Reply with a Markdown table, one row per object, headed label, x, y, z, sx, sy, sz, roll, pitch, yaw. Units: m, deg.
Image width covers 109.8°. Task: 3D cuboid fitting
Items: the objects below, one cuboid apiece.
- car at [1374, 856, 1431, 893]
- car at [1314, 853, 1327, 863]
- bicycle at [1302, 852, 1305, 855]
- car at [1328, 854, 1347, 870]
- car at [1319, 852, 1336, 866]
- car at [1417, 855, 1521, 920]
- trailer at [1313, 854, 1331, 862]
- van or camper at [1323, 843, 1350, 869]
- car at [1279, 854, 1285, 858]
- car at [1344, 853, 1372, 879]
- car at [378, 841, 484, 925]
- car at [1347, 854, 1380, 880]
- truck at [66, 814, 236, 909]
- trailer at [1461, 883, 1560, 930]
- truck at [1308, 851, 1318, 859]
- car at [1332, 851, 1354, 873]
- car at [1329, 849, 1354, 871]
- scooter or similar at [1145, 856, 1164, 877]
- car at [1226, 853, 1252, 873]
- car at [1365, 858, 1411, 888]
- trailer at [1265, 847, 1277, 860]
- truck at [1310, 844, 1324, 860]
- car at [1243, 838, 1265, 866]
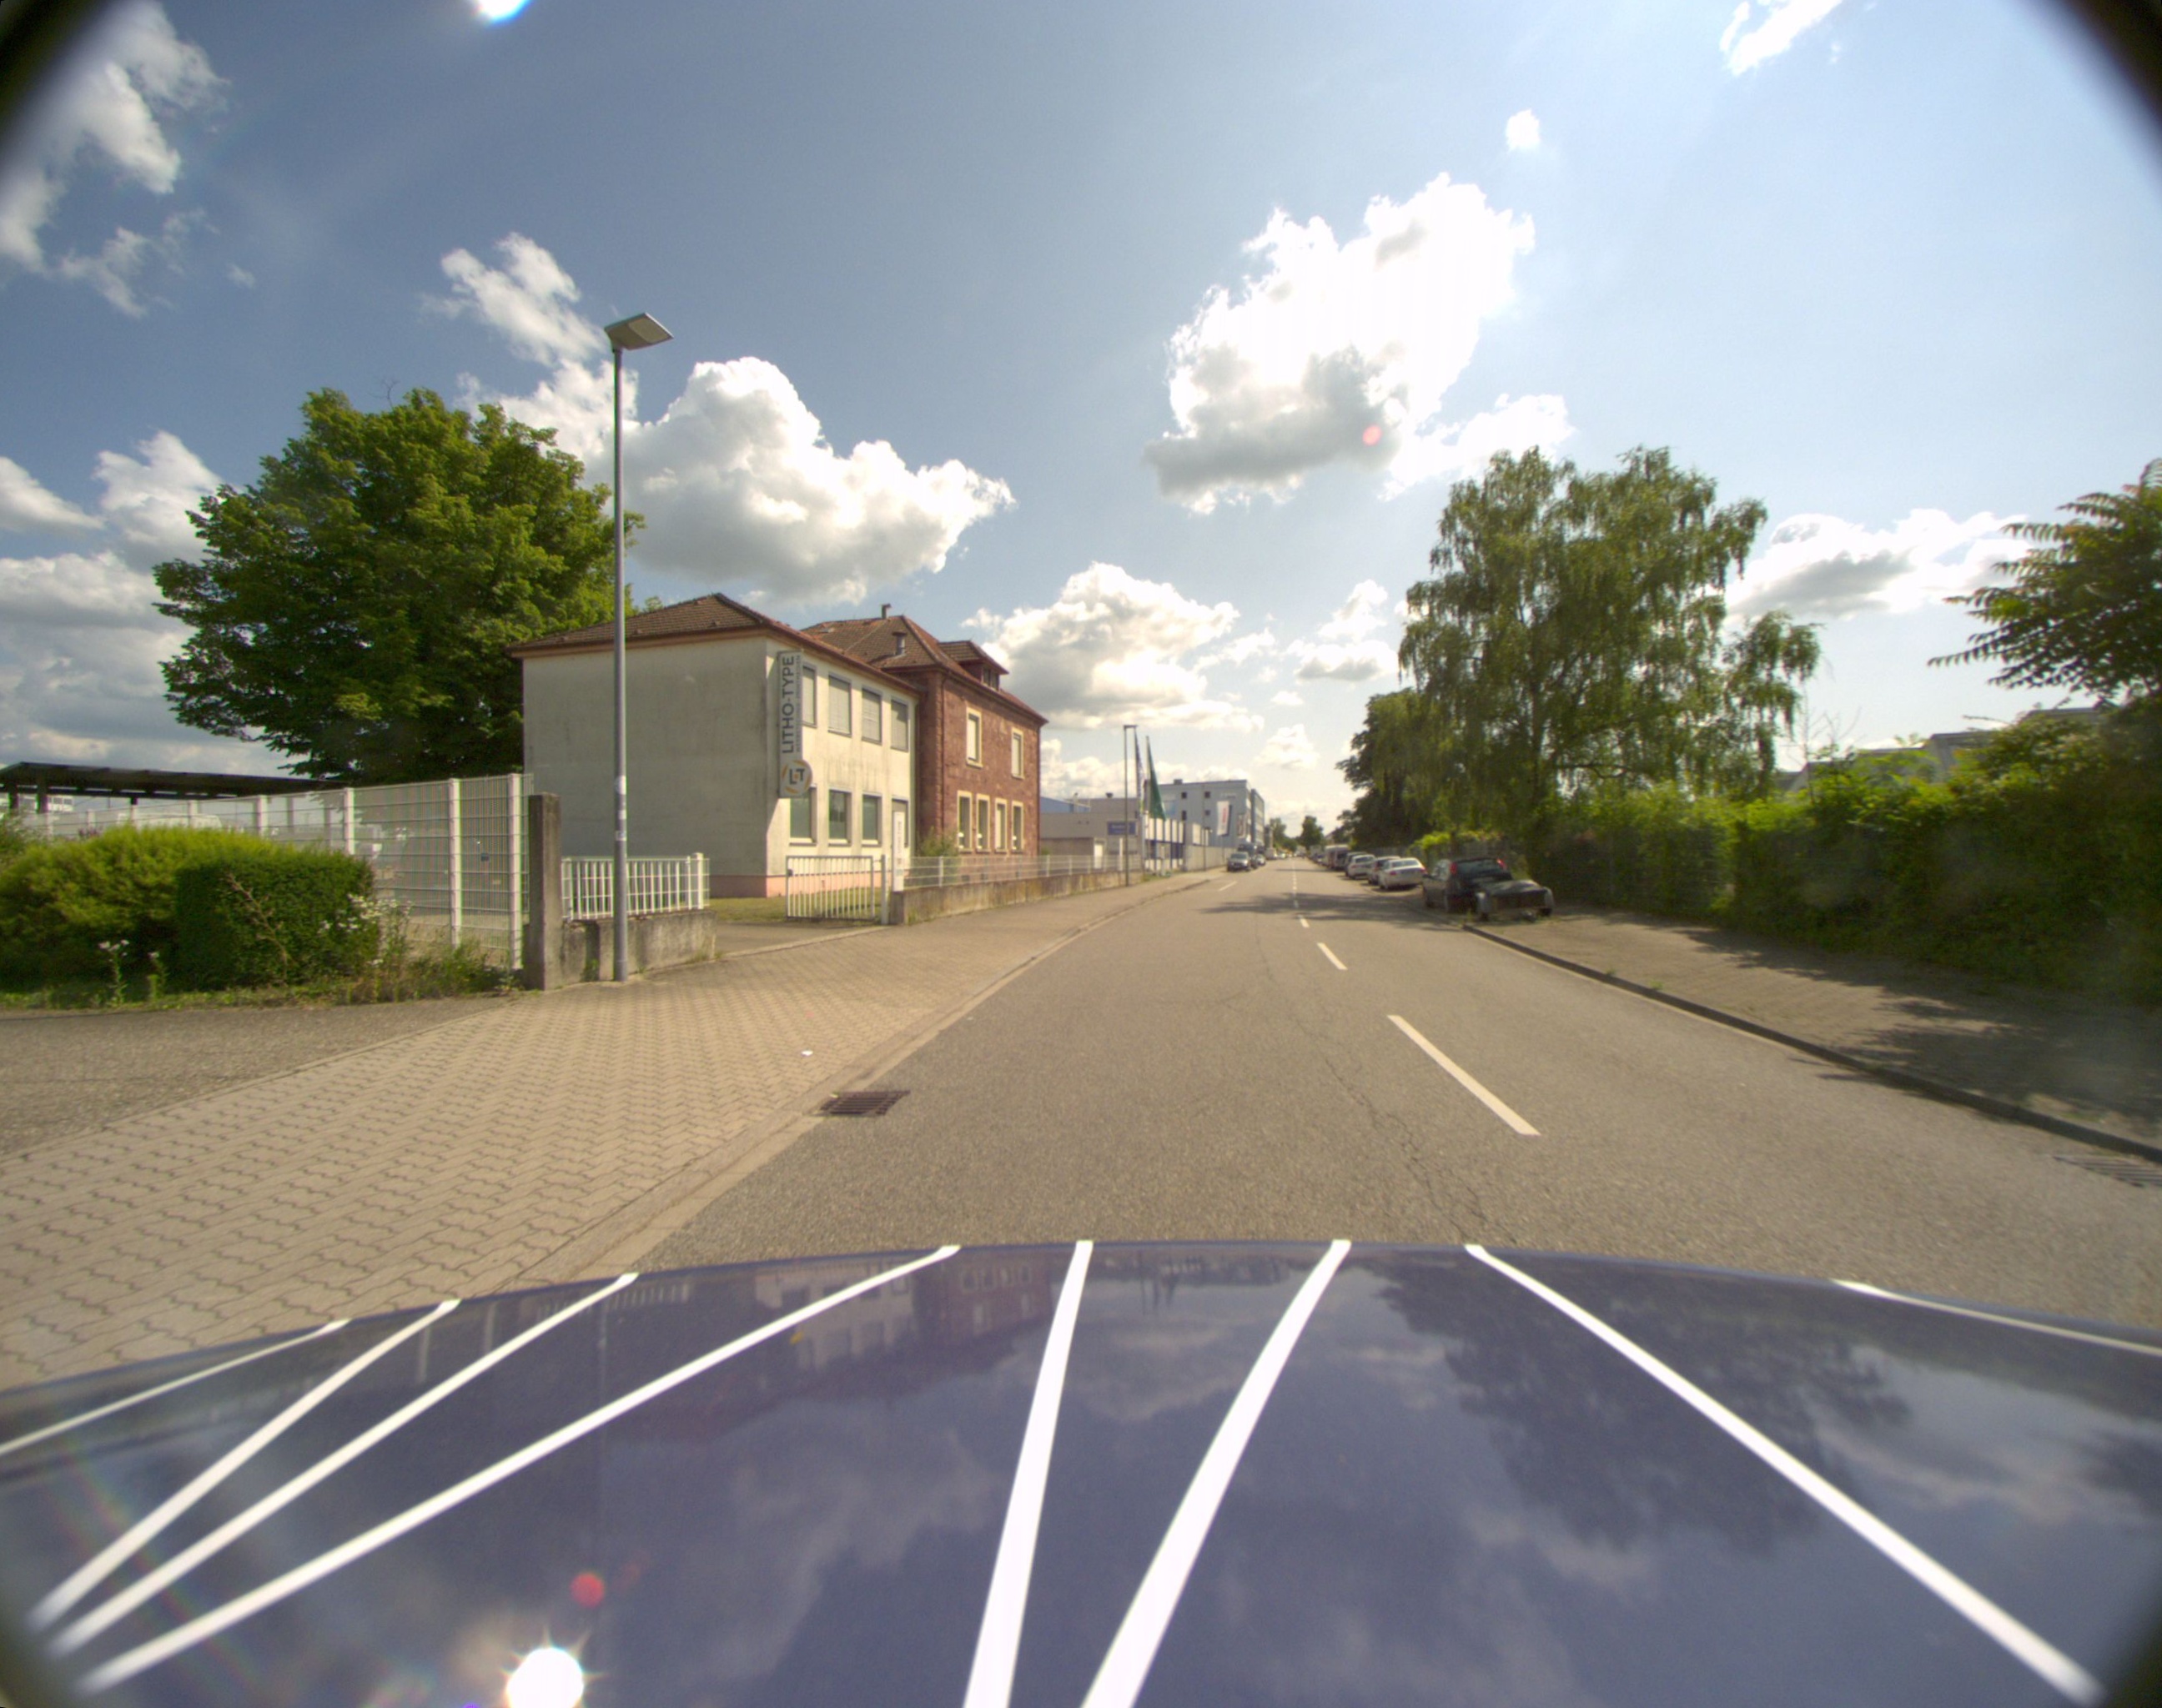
| label | x | y | z | sx | sy | sz | roll | pitch | yaw |
| --- | --- | --- | --- | --- | --- | --- | --- | --- | --- |
| car | 14.938 | 0.921 | 35.526 | 1.726 | 1.468 | 4.636 | -4 | -1 | 15 |
| car | 37.704 | 0.560 | 119.561 | 1.579 | 1.504 | 4.206 | -1 | 0 | 14 |
| bicycle | 61.105 | -0.167 | 208.851 | 0.588 | 0.737 | 2.128 | 0 | 0 | 18 |
| car | 27.414 | 0.794 | 81.274 | 1.627 | 1.523 | 4.273 | -4 | -1 | 16 |
| car | 33.129 | 0.661 | 102.203 | 1.829 | 1.783 | 4.741 | 0 | 0 | 15 |
| car | 10.837 | 0.876 | 21.508 | 1.685 | 1.503 | 4.162 | -4 | 0 | 15 |
| trailer | 35.352 | 0.544 | 111.701 | 2.274 | 0.878 | 7.140 | -5 | -1 | 16 |
| van or camper | 29.630 | 0.186 | 88.150 | 2.266 | 2.787 | 6.841 | -4 | -1 | 14 |
| car | 61.851 | 0.677 | 234.165 | 1.655 | 1.324 | 4.005 | 0 | 0 | 15 |
| car | 20.058 | 0.851 | 55.148 | 1.613 | 1.735 | 4.642 | -2 | 0 | 17 |
| car | -15.942 | 0.623 | 18.594 | 1.807 | 1.821 | 3.988 | 0 | 0 | -42 |
| car | 18.237 | 0.816 | 49.205 | 1.702 | 1.585 | 4.793 | 0 | 0 | 16 |
| truck | -26.061 | 0.172 | 21.276 | 4.731 | 2.410 | 2.004 | 1 | 0 | 26 |
| trailer | 10.050 | 1.203 | 17.951 | 1.466 | 0.846 | 2.470 | -5 | -1 | 16 |
| truck | 63.078 | 0.316 | 206.642 | 2.131 | 2.225 | 7.359 | -3 | -1 | 19 |
| car | 23.881 | 0.708 | 69.278 | 1.702 | 1.791 | 3.831 | -4 | -1 | 18 |
| car | 25.906 | 0.561 | 75.706 | 1.901 | 1.943 | 4.963 | -6 | -1 | 15 |
| scooter or similar | 4.456 | 0.769 | 46.180 | 1.146 | 1.238 | 0.259 | 1 | 1 | 34 |
| car | 13.574 | 0.752 | 64.999 | 1.827 | 1.655 | 4.561 | 1 | 0 | 16 |
| car | 16.618 | 0.982 | 41.319 | 1.797 | 1.518 | 4.664 | 0 | 0 | 16 |
| trailer | 38.481 | -0.035 | 153.939 | 1.871 | 2.538 | 5.078 | 0 | 0 | 18 |
| truck | 50.726 | -0.382 | 163.453 | 2.253 | 3.341 | 6.915 | -5 | -1 | 15 |
| car | 18.034 | -0.199 | 79.054 | 1.940 | 2.732 | 6.162 | 1 | 0 | 15 |
